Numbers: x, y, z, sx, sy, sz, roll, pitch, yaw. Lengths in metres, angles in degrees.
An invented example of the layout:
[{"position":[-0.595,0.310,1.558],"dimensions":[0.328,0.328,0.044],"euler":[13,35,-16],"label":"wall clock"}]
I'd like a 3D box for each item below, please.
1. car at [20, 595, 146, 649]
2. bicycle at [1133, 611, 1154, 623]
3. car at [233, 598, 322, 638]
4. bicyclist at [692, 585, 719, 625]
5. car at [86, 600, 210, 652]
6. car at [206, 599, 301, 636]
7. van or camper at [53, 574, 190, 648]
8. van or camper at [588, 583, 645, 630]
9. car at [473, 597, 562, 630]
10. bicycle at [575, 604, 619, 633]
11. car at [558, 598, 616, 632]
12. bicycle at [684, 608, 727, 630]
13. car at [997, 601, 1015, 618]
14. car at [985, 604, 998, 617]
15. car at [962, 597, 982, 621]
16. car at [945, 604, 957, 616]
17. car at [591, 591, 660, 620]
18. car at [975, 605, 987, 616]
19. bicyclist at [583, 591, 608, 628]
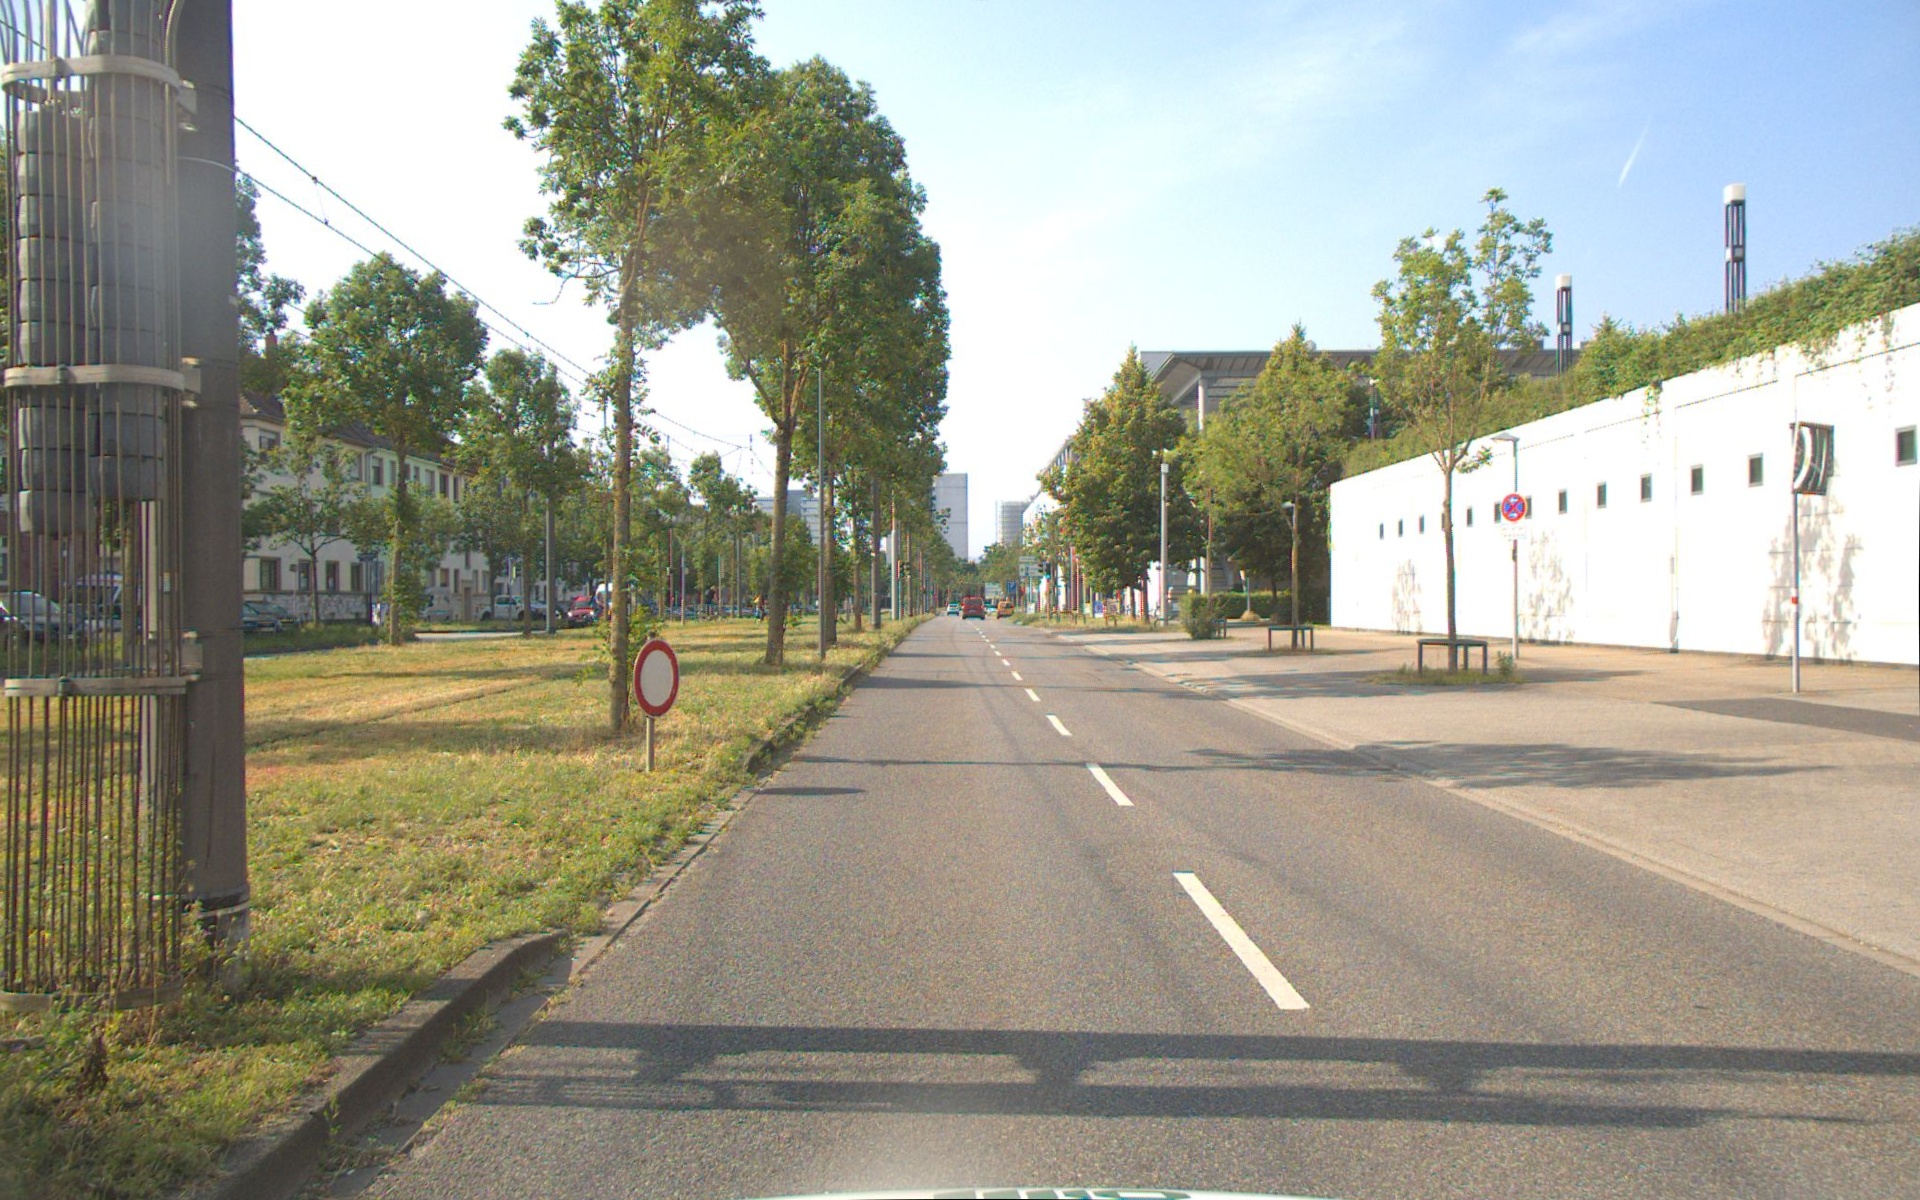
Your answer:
[{"position":[-25.368,0.629,47.816],"dimensions":[3.918,1.442,1.572],"euler":[1,-1,35],"label":"car"},{"position":[14.587,1.315,131.756],"dimensions":[1.589,0.903,0.551],"euler":[2,-1,-2],"label":"bicycle"},{"position":[-25.049,0.655,60.673],"dimensions":[3.099,1.350,1.492],"euler":[1,-1,33],"label":"car"},{"position":[-12.928,0.242,83.961],"dimensions":[1.132,1.968,0.681],"euler":[2,-1,-25],"label":"bicyclist"},{"position":[-24.678,0.788,50.239],"dimensions":[3.916,1.442,1.573],"euler":[1,-1,33],"label":"car"},{"position":[-24.420,0.604,57.133],"dimensions":[3.097,1.181,1.493],"euler":[1,-1,32],"label":"car"},{"position":[-31.918,0.413,63.220],"dimensions":[1.997,2.612,6.355],"euler":[2,-1,-1],"label":"van or camper"},{"position":[-20.214,0.402,97.531],"dimensions":[2.158,2.575,6.028],"euler":[2,-1,-1],"label":"van or camper"},{"position":[-25.702,0.794,96.027],"dimensions":[5.217,1.768,1.994],"euler":[1,-1,34],"label":"car"},{"position":[-17.990,0.917,81.953],"dimensions":[2.033,1.347,0.780],"euler":[2,-1,-17],"label":"bicycle"},{"position":[-20.376,0.833,90.578],"dimensions":[1.924,1.723,4.298],"euler":[2,-1,3],"label":"car"},{"position":[-12.912,0.982,83.942],"dimensions":[2.038,1.060,0.663],"euler":[2,-1,-24],"label":"bicycle"},{"position":[4.763,0.968,170.611],"dimensions":[1.712,1.679,3.215],"euler":[2,-1,0],"label":"car"},{"position":[4.269,1.411,224.725],"dimensions":[1.712,1.679,3.215],"euler":[2,-1,0],"label":"car"},{"position":[1.035,0.767,143.876],"dimensions":[1.712,2.049,3.215],"euler":[2,-1,0],"label":"car"},{"position":[-1.309,1.496,240.048],"dimensions":[1.712,1.679,3.215],"euler":[2,-1,0],"label":"car"},{"position":[-25.853,0.440,127.846],"dimensions":[5.115,2.049,1.875],"euler":[2,-1,26],"label":"car"},{"position":[3.223,1.602,251.195],"dimensions":[1.712,1.679,3.215],"euler":[2,-1,0],"label":"car"},{"position":[-18.037,0.492,81.918],"dimensions":[1.128,1.792,0.683],"euler":[2,-1,-16],"label":"bicyclist"}]
